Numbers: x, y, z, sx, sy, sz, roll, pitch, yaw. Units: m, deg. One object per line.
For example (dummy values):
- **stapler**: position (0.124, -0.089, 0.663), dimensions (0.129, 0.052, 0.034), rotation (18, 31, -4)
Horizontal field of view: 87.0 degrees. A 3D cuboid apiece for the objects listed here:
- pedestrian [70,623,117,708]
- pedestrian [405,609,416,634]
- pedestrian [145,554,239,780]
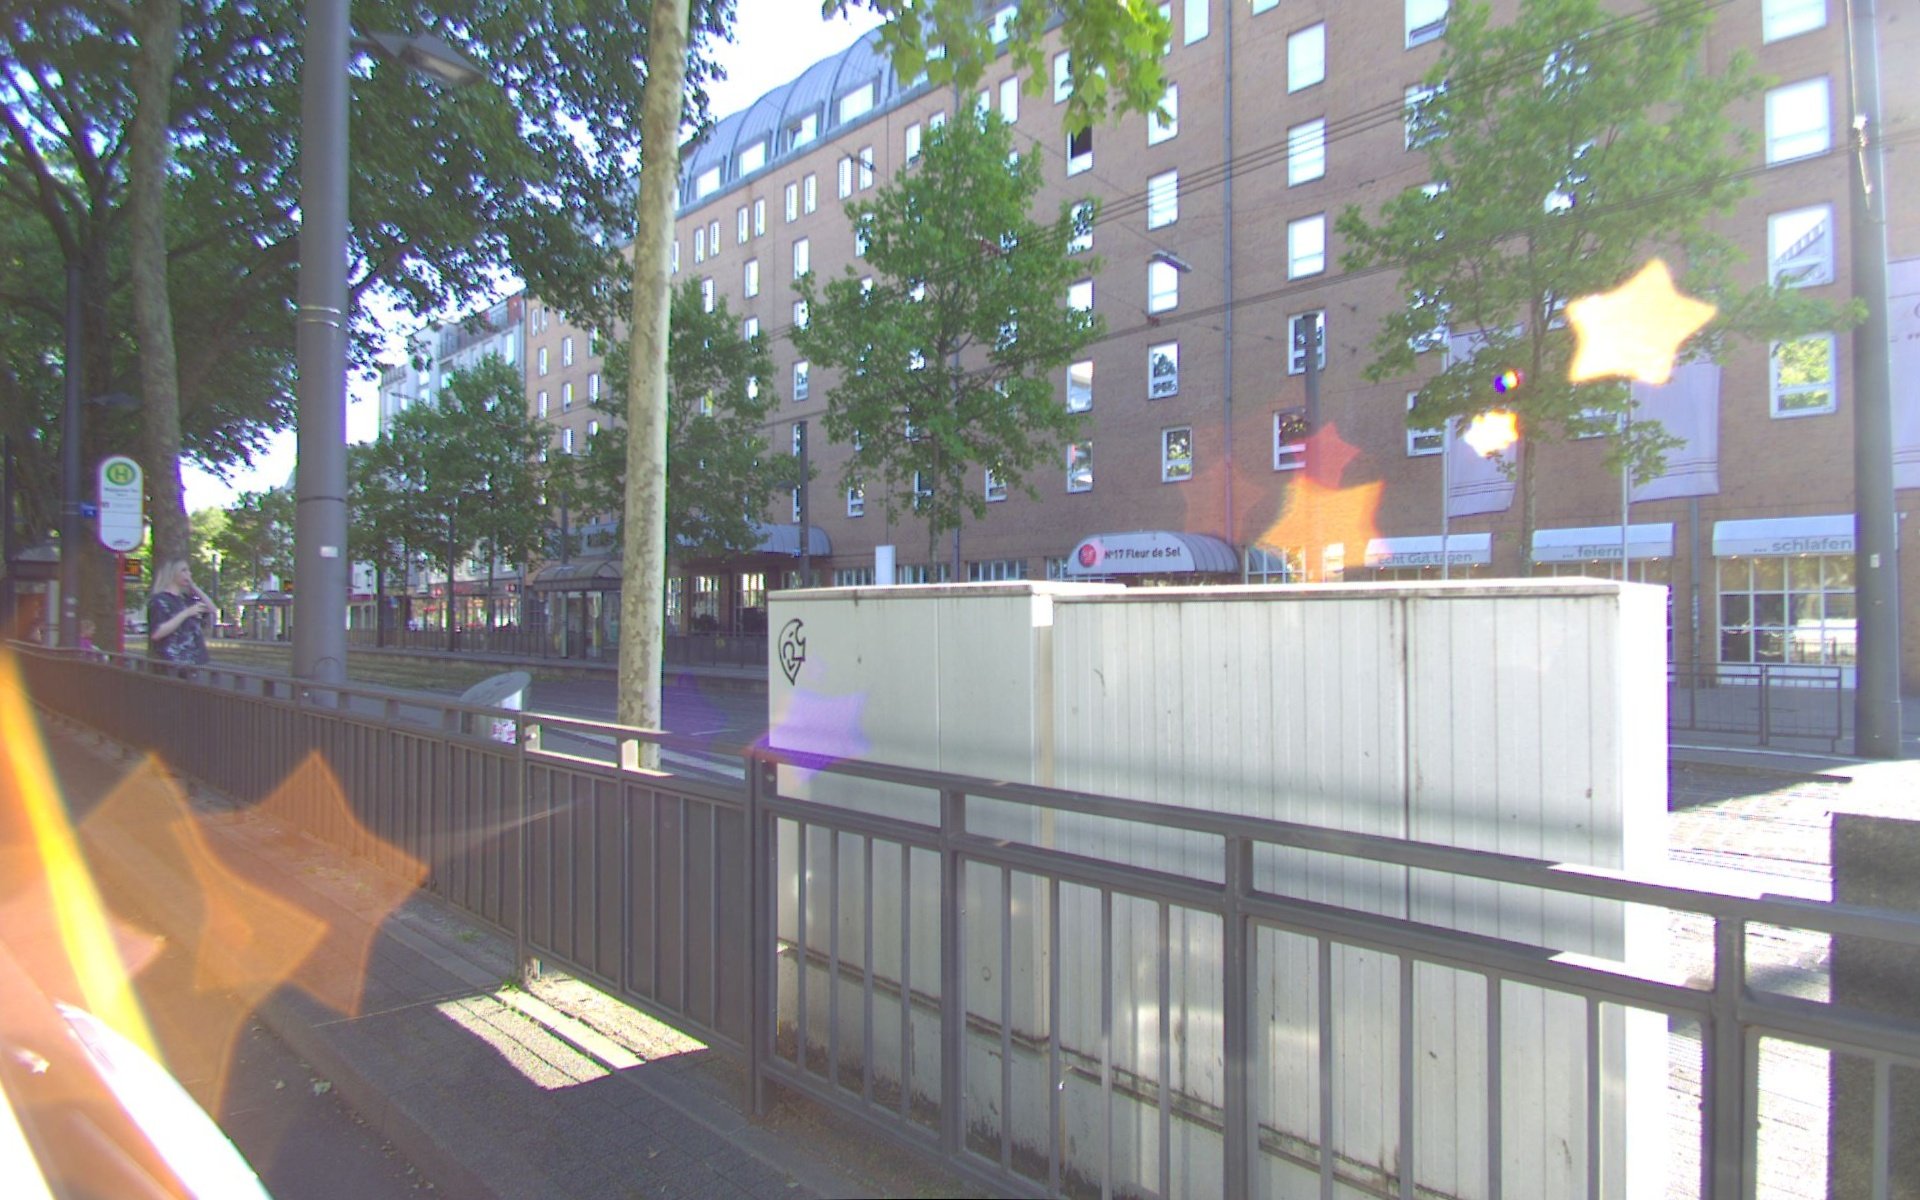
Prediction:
- **pedestrian**: position (-13.979, 1.045, 16.332), dimensions (0.534, 1.327, 0.525), rotation (-1, 0, -37)
- **pedestrian**: position (-39.868, 1.562, 73.406), dimensions (0.574, 1.748, 0.497), rotation (-2, -2, 43)
- **pedestrian**: position (-6.572, 0.549, 8.661), dimensions (0.524, 1.848, 0.536), rotation (-1, 0, 43)
